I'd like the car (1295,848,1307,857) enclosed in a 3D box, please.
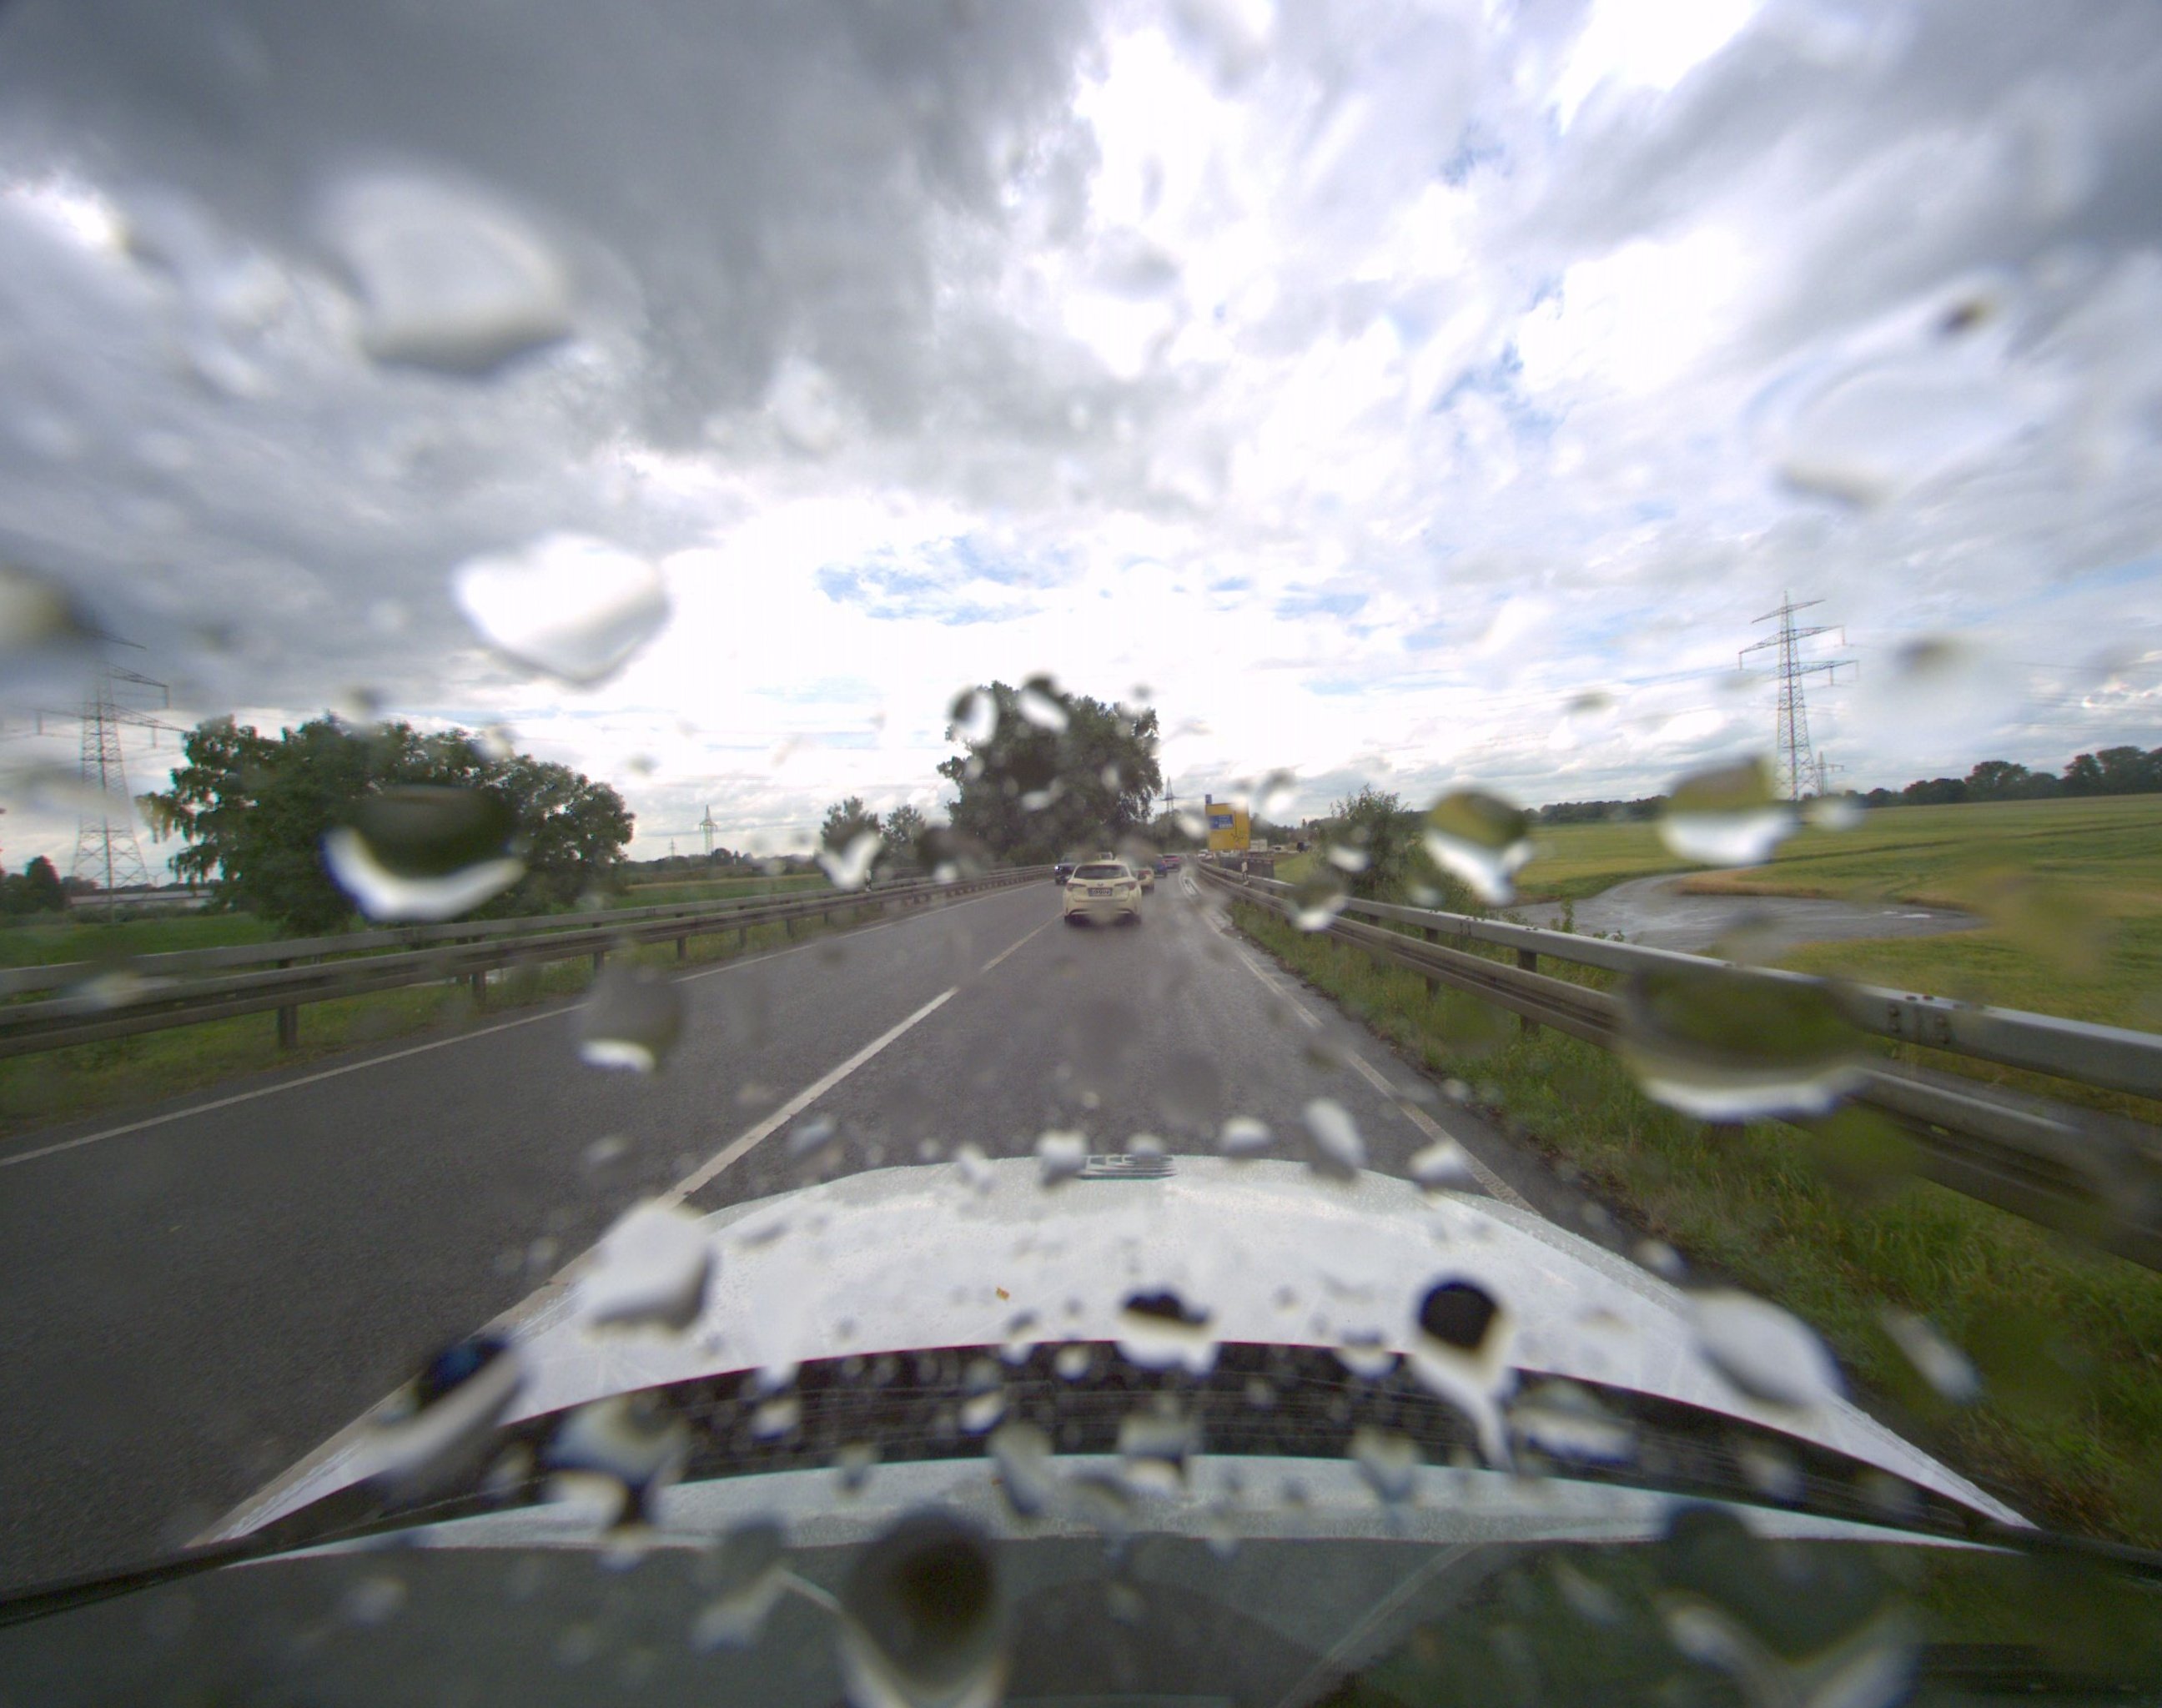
[{"bbox_3d":[55.028,-0.395,203.577,1.974,2.014,4.025,-1,-1,32],"label":"car"}]

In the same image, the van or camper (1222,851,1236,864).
[{"bbox_3d":[25.969,0.660,142.906,1.977,2.254,4.019,-1,-1,18],"label":"van or camper"}]

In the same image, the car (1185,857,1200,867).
[{"bbox_3d":[14.848,1.066,108.592,1.472,1.309,3.490,-1,-1,15],"label":"car"}]

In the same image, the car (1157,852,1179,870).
[{"bbox_3d":[7.430,0.596,69.225,1.655,1.464,3.485,-1,-1,9],"label":"car"}]

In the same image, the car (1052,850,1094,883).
[{"bbox_3d":[-0.377,0.622,44.213,1.737,1.654,4.532,-1,0,6],"label":"car"}]

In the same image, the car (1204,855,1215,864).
[{"bbox_3d":[19.847,0.819,125.652,1.473,1.309,3.487,-1,-1,11],"label":"car"}]

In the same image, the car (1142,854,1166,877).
[{"bbox_3d":[4.814,0.739,53.494,1.498,1.437,3.361,-1,-1,6],"label":"car"}]

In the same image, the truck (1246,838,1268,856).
[{"bbox_3d":[36.632,-1.473,169.313,3.112,3.562,7.563,-1,-1,24],"label":"truck"}]

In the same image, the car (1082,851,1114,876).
[{"bbox_3d":[1.270,0.642,58.834,1.831,1.700,4.397,0,0,7],"label":"car"}]

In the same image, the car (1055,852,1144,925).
[{"bbox_3d":[0.557,0.765,19.729,1.897,1.537,4.166,-1,0,4],"label":"car"}]

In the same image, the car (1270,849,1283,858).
[{"bbox_3d":[45.325,-0.083,188.703,2.146,2.014,4.023,-1,-1,26],"label":"car"}]

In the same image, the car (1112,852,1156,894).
[{"bbox_3d":[2.166,0.719,32.578,1.570,1.572,3.688,-1,-1,6],"label":"car"}]

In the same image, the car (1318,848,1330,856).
[{"bbox_3d":[65.286,-0.529,219.083,2.204,2.014,4.025,-1,-1,31],"label":"car"}]

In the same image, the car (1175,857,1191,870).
[{"bbox_3d":[11.880,1.119,94.758,1.650,1.409,3.914,-1,-1,9],"label":"car"}]
